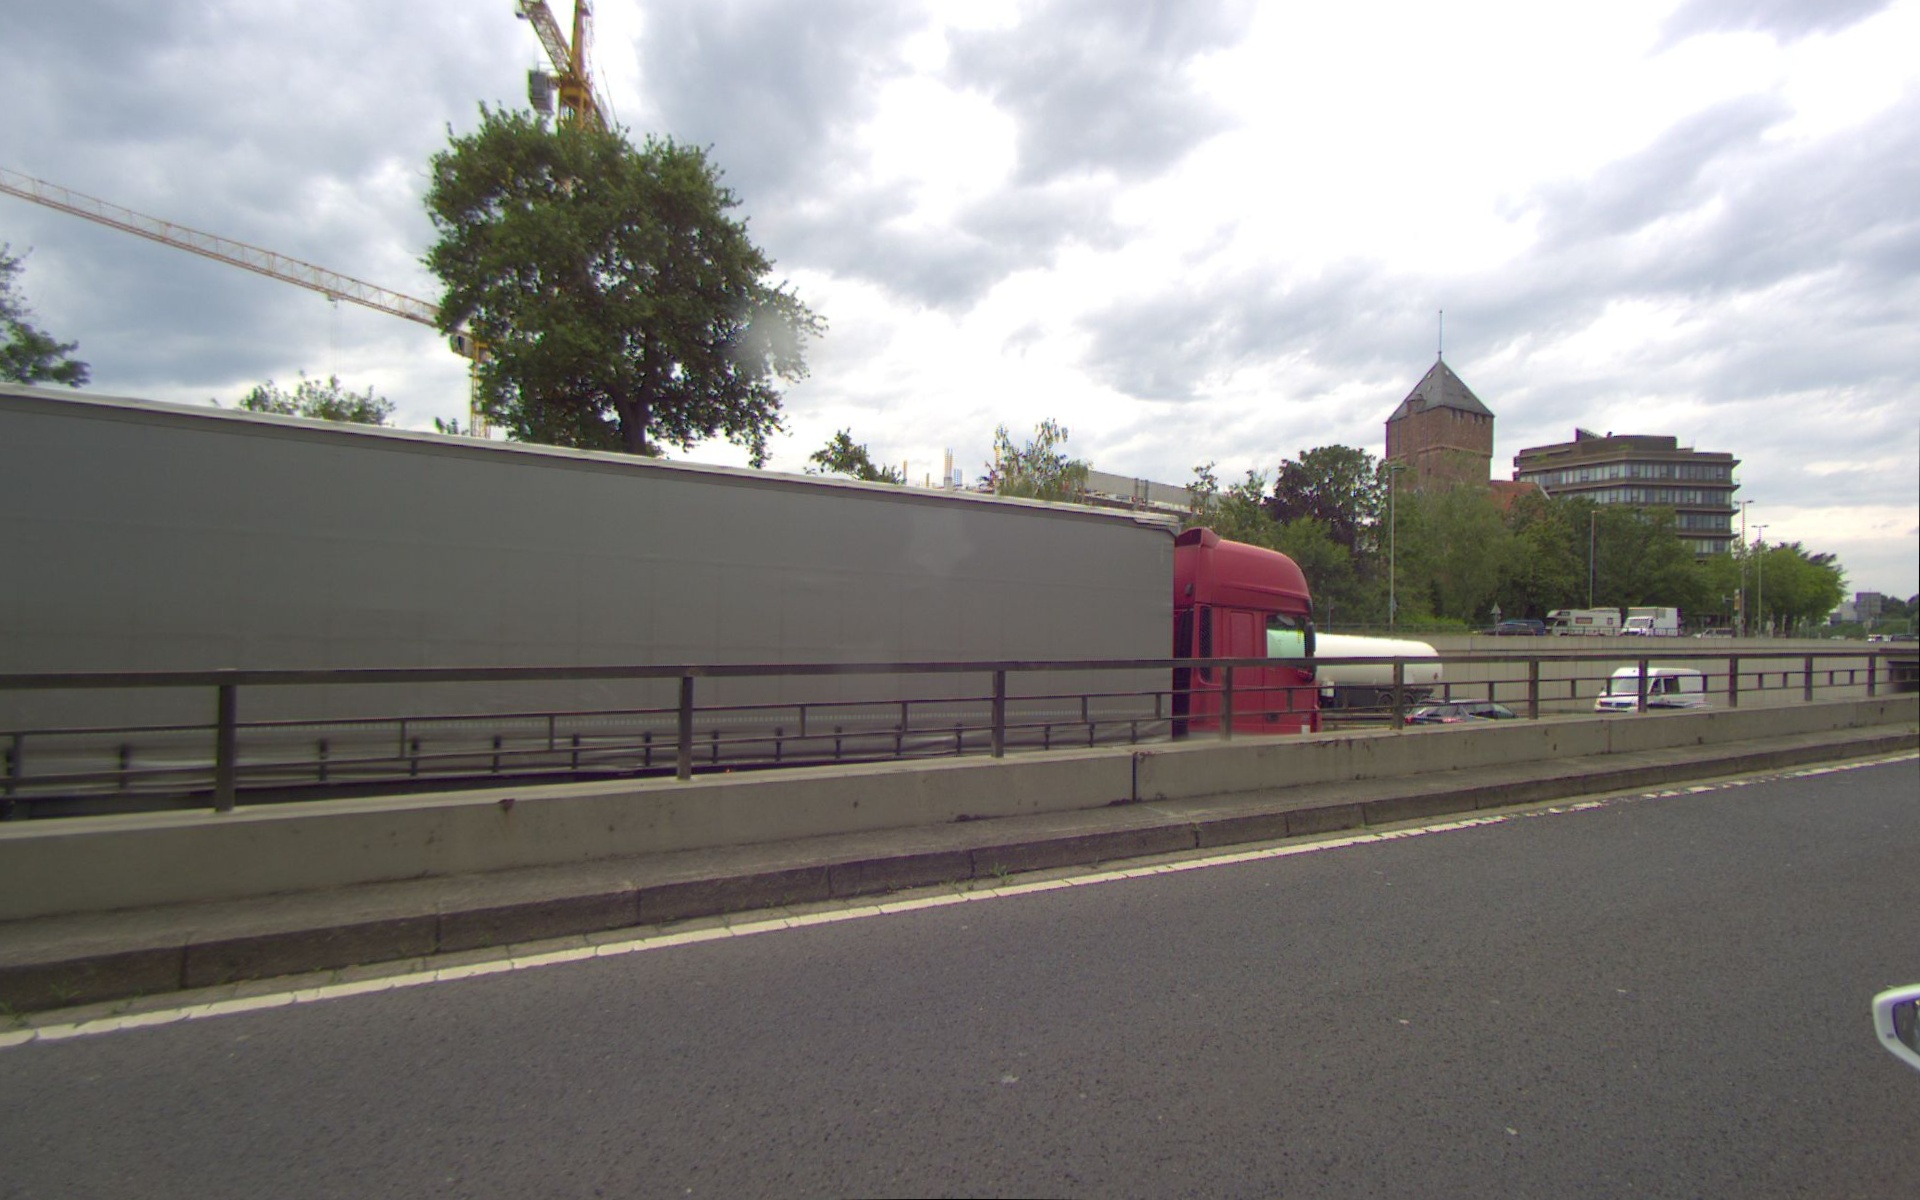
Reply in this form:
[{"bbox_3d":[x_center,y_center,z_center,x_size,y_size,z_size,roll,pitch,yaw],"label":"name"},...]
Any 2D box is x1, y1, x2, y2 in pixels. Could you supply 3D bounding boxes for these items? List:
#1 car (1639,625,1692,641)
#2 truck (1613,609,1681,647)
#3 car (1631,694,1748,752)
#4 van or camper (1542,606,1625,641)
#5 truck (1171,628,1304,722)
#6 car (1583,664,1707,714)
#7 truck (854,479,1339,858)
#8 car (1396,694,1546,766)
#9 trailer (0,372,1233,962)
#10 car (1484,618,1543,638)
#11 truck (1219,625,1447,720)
[{"bbox_3d":[70.123,3.266,99.899,3.919,1.460,1.630,2,0,9],"label":"car"},{"bbox_3d":[57.285,2.343,83.721,7.021,3.027,2.005,2,0,-33],"label":"truck"},{"bbox_3d":[23.596,3.938,32.473,3.851,1.549,1.616,2,0,-30],"label":"car"},{"bbox_3d":[55.310,2.102,89.284,5.805,2.847,2.147,2,0,15],"label":"van or camper"},{"bbox_3d":[10.266,2.700,37.122,4.272,3.262,2.511,2,-2,-32],"label":"truck"},{"bbox_3d":[31.145,3.989,45.619,6.581,2.025,2.197,2,-3,-32],"label":"car"},{"bbox_3d":[1.949,0.861,13.584,6.131,4.090,2.692,2,-2,-30],"label":"truck"},{"bbox_3d":[13.520,3.380,26.545,3.850,1.549,1.648,2,0,-29],"label":"car"},{"bbox_3d":[-3.344,0.635,10.452,14.385,4.090,2.639,2,-2,-31],"label":"trailer"},{"bbox_3d":[45.575,2.285,82.766,3.919,1.460,1.630,2,0,9],"label":"car"},{"bbox_3d":[15.154,2.816,40.255,10.930,3.396,2.510,2,-2,-33],"label":"truck"}]
